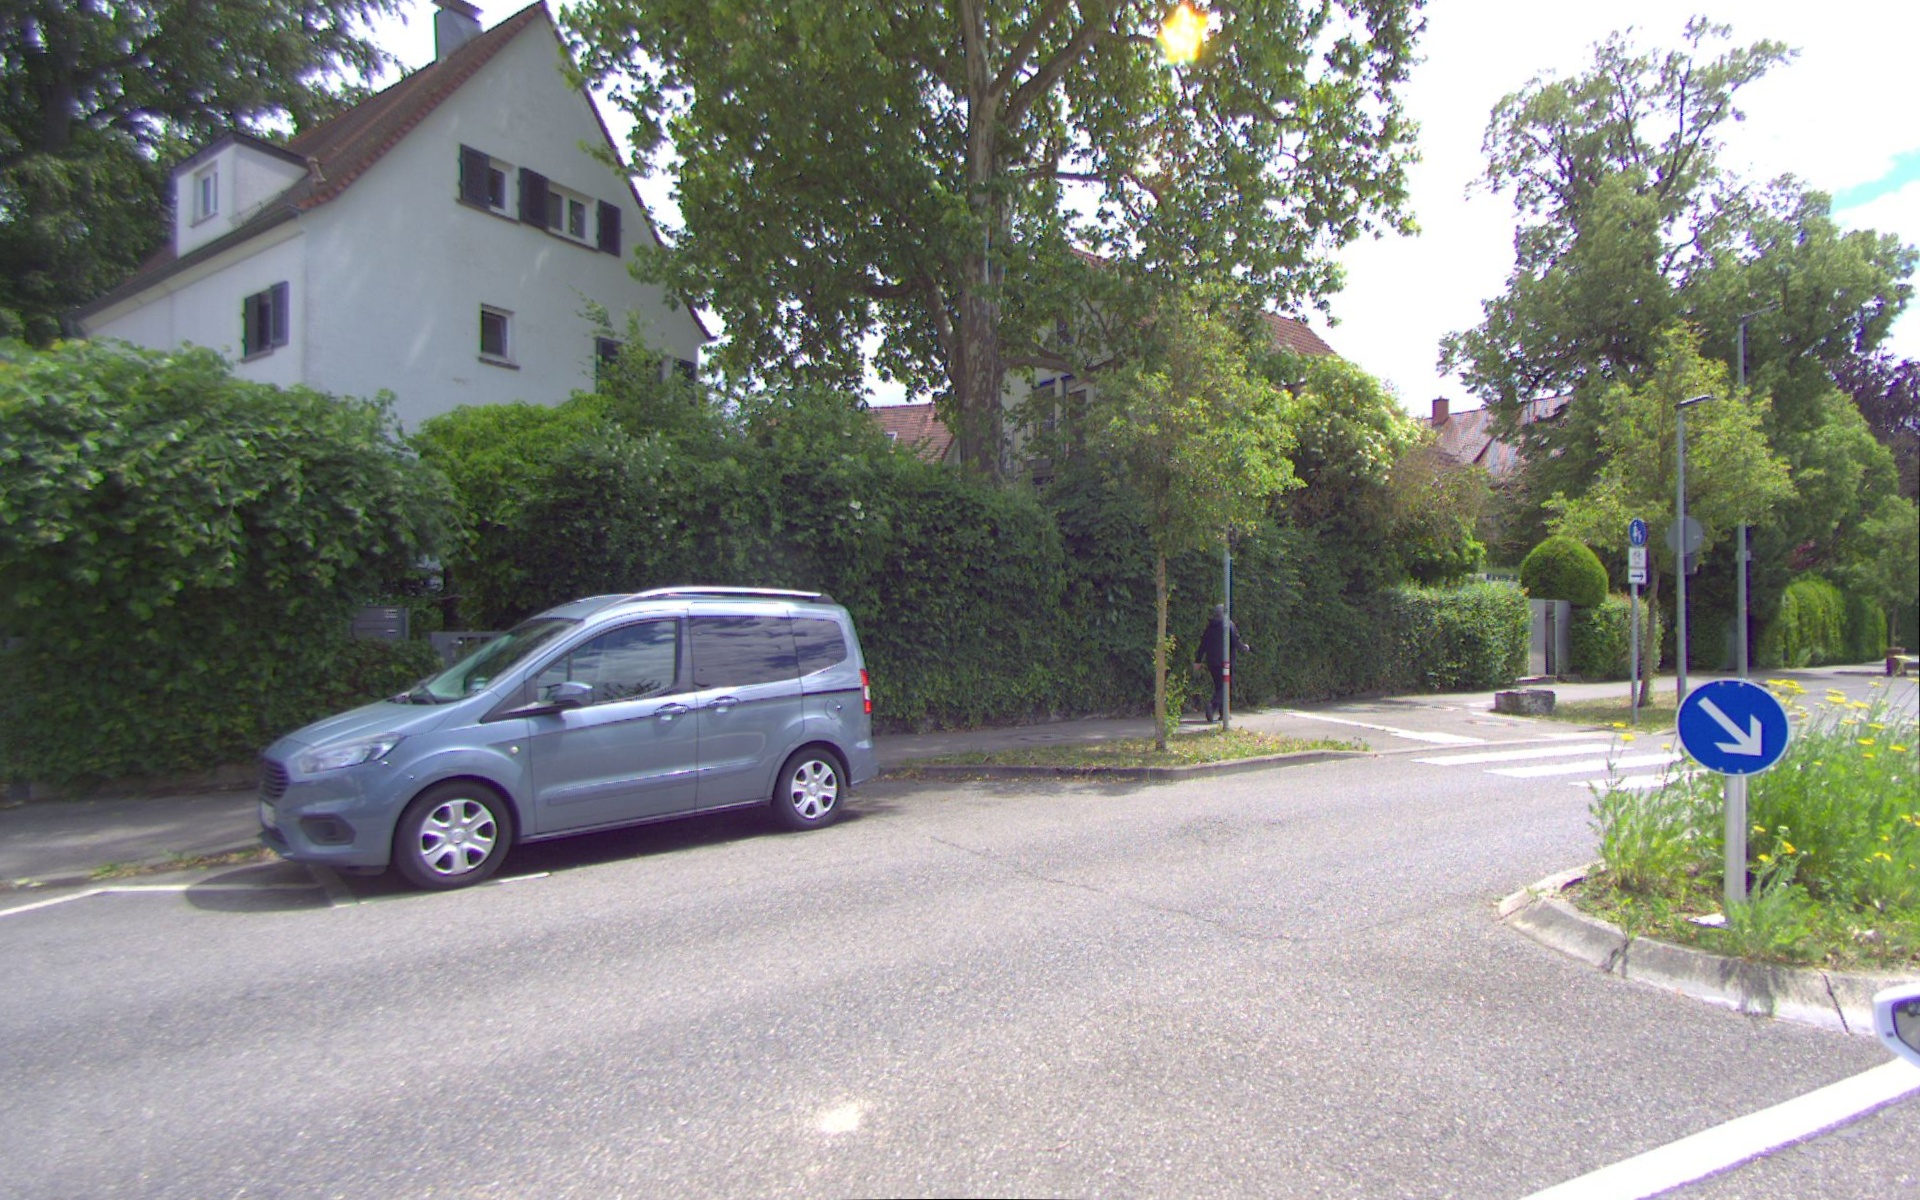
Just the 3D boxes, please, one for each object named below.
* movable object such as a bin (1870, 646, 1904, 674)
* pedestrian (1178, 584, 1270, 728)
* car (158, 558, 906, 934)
[{"bbox_3d":[30.316,1.953,32.854,0.632,0.874,0.627,0,-2,-27],"label":"movable object such as a bin"},{"bbox_3d":[3.922,0.822,14.918,1.033,2.040,0.864,1,-2,-42],"label":"pedestrian"},{"bbox_3d":[-2.734,0.692,7.118,4.435,1.796,2.110,0,1,-45],"label":"car"}]
